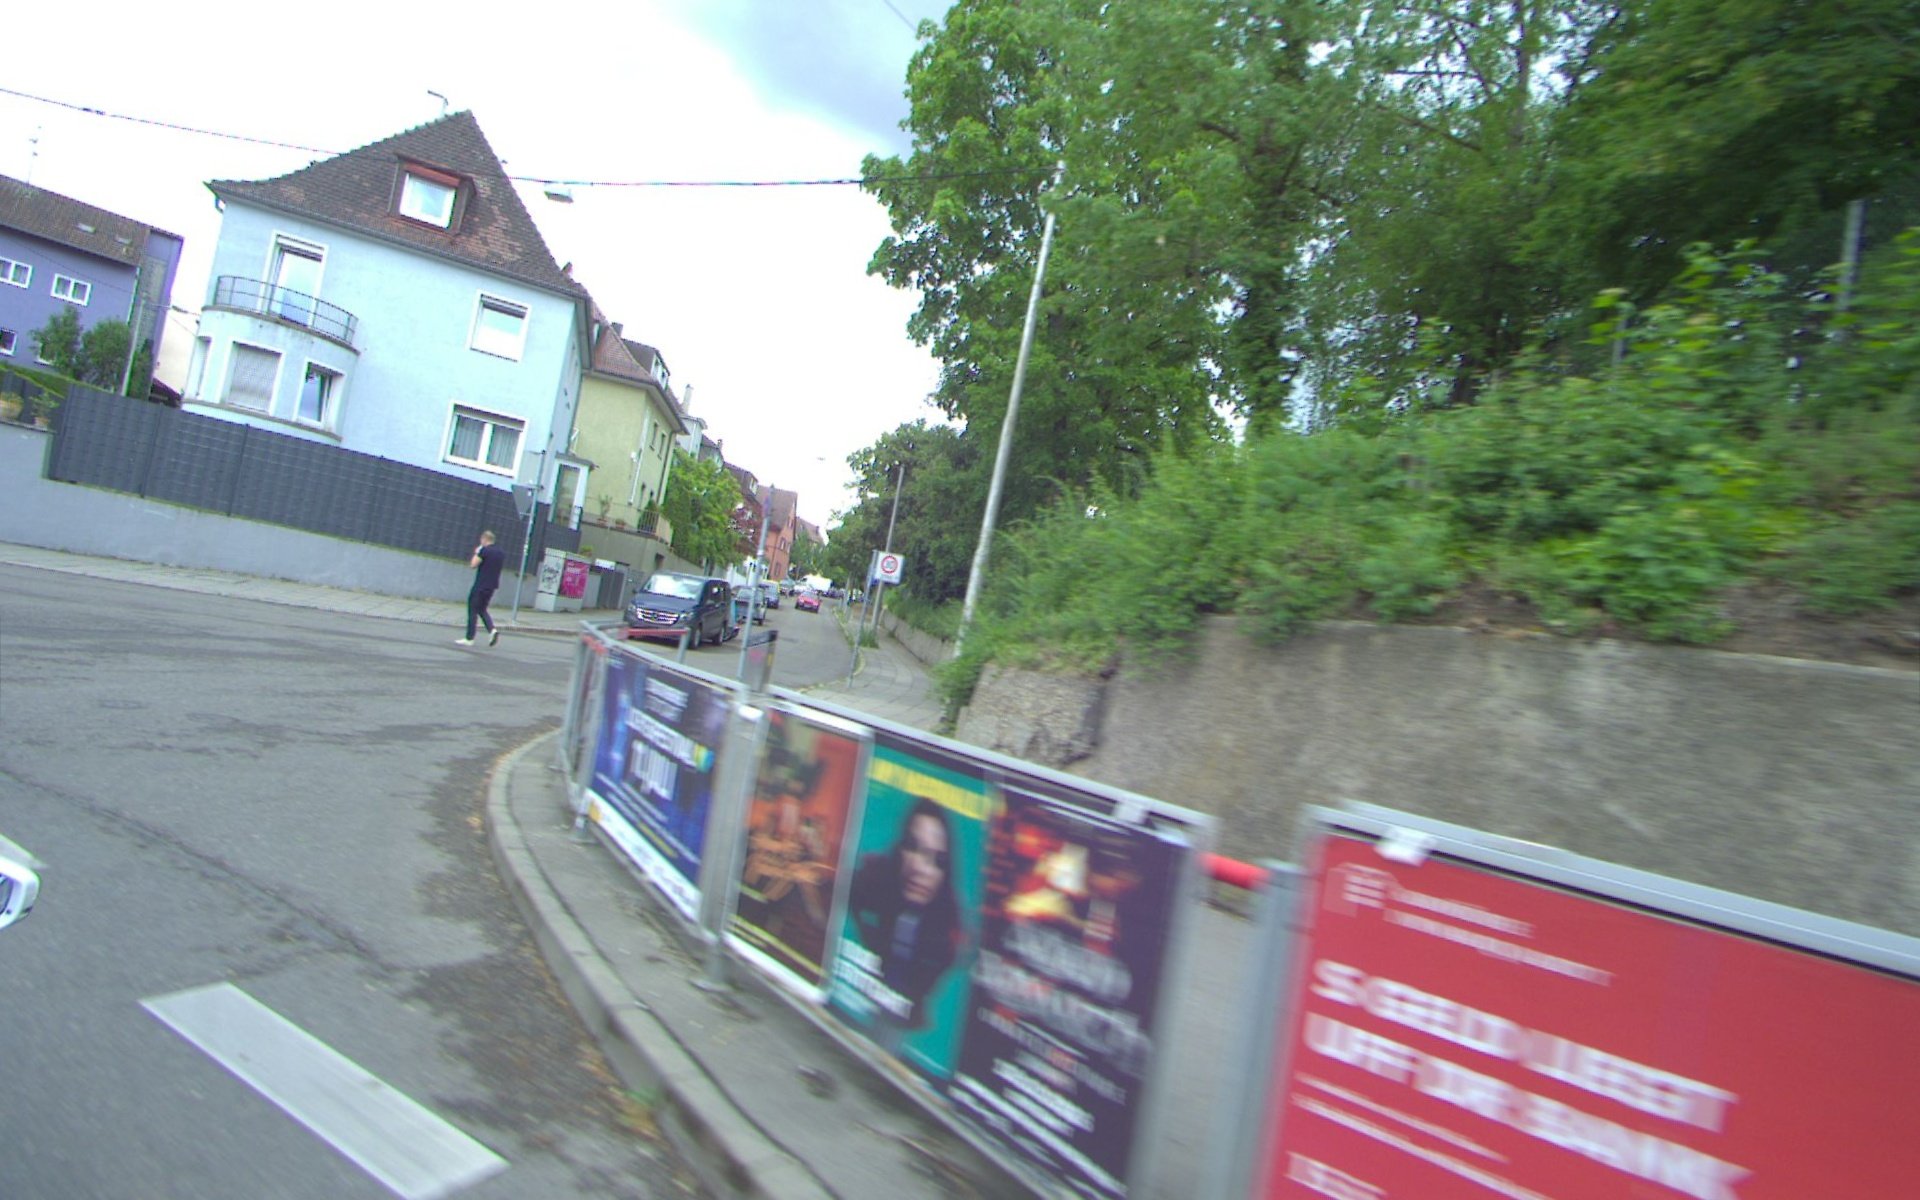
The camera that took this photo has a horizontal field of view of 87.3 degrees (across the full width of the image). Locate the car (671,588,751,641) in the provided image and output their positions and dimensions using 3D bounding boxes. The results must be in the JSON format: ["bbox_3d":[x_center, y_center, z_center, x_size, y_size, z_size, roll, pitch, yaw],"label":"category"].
[{"bbox_3d":[-8.048,0.465,32.873,1.740,1.375,3.997,9,-1,-4],"label":"car"}]

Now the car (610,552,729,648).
[{"bbox_3d":[-7.633,0.092,26.875,2.053,2.035,4.003,9,-4,-4],"label":"car"}]

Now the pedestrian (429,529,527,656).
[{"bbox_3d":[-7.700,-0.107,16.126,0.999,1.831,0.819,10,-1,-12],"label":"pedestrian"}]

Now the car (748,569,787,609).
[{"bbox_3d":[-12.260,-0.651,64.368,1.966,2.035,4.000,9,-4,-7],"label":"car"}]

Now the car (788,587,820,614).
[{"bbox_3d":[-11.147,0.044,72.244,1.966,1.575,3.996,8,-1,-7],"label":"car"}]

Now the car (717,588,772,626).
[{"bbox_3d":[-9.723,0.350,45.646,1.966,1.358,3.804,9,-2,-7],"label":"car"}]

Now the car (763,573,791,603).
[{"bbox_3d":[-15.647,-0.991,86.238,1.966,2.035,4.000,9,-4,-7],"label":"car"}]

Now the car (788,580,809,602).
[{"bbox_3d":[-18.186,-0.986,113.693,1.966,2.035,4.000,9,-4,-7],"label":"car"}]
